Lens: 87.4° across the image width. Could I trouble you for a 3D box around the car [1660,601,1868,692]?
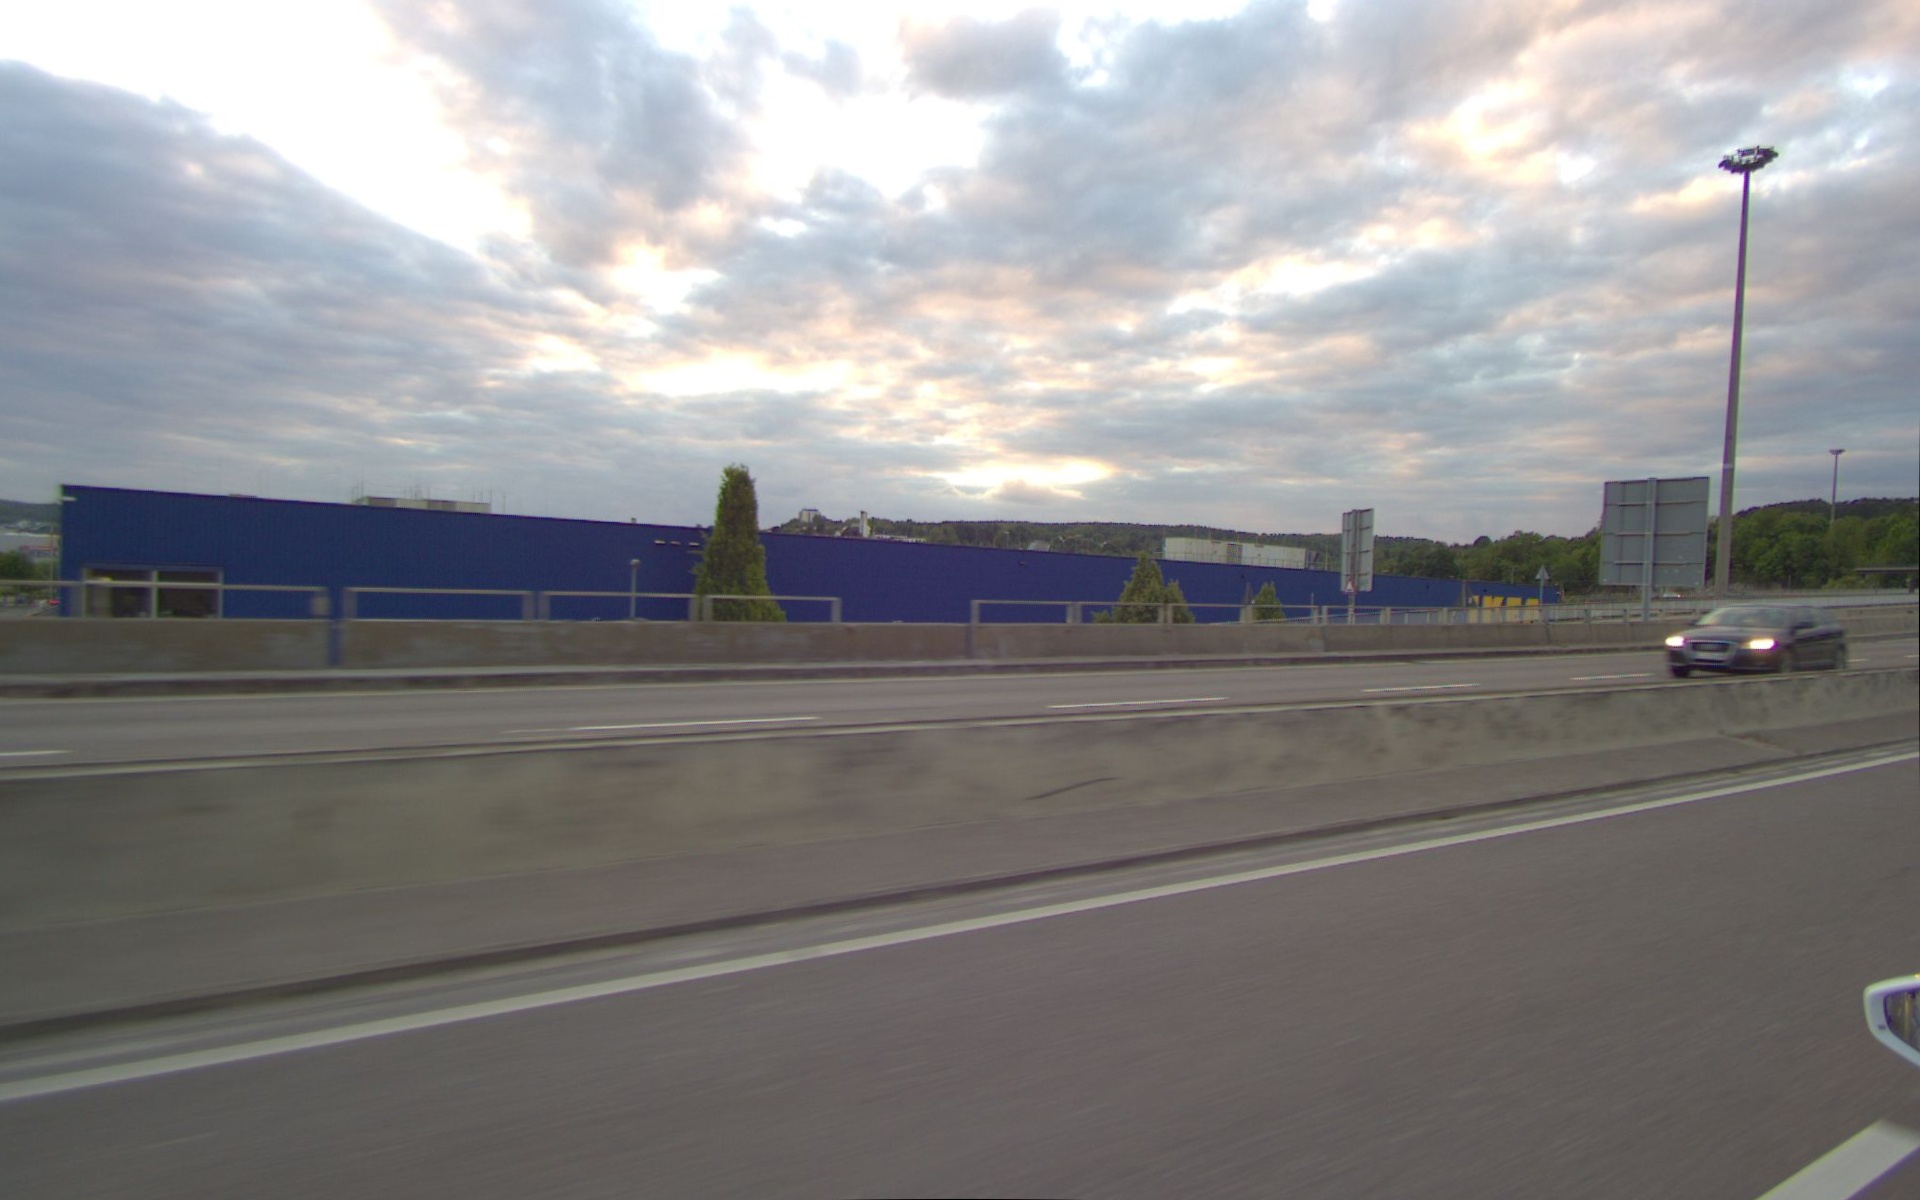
[{"bbox_3d":[15.067,0.835,18.776,4.242,1.500,1.818,2,0,-34],"label":"car"}]
